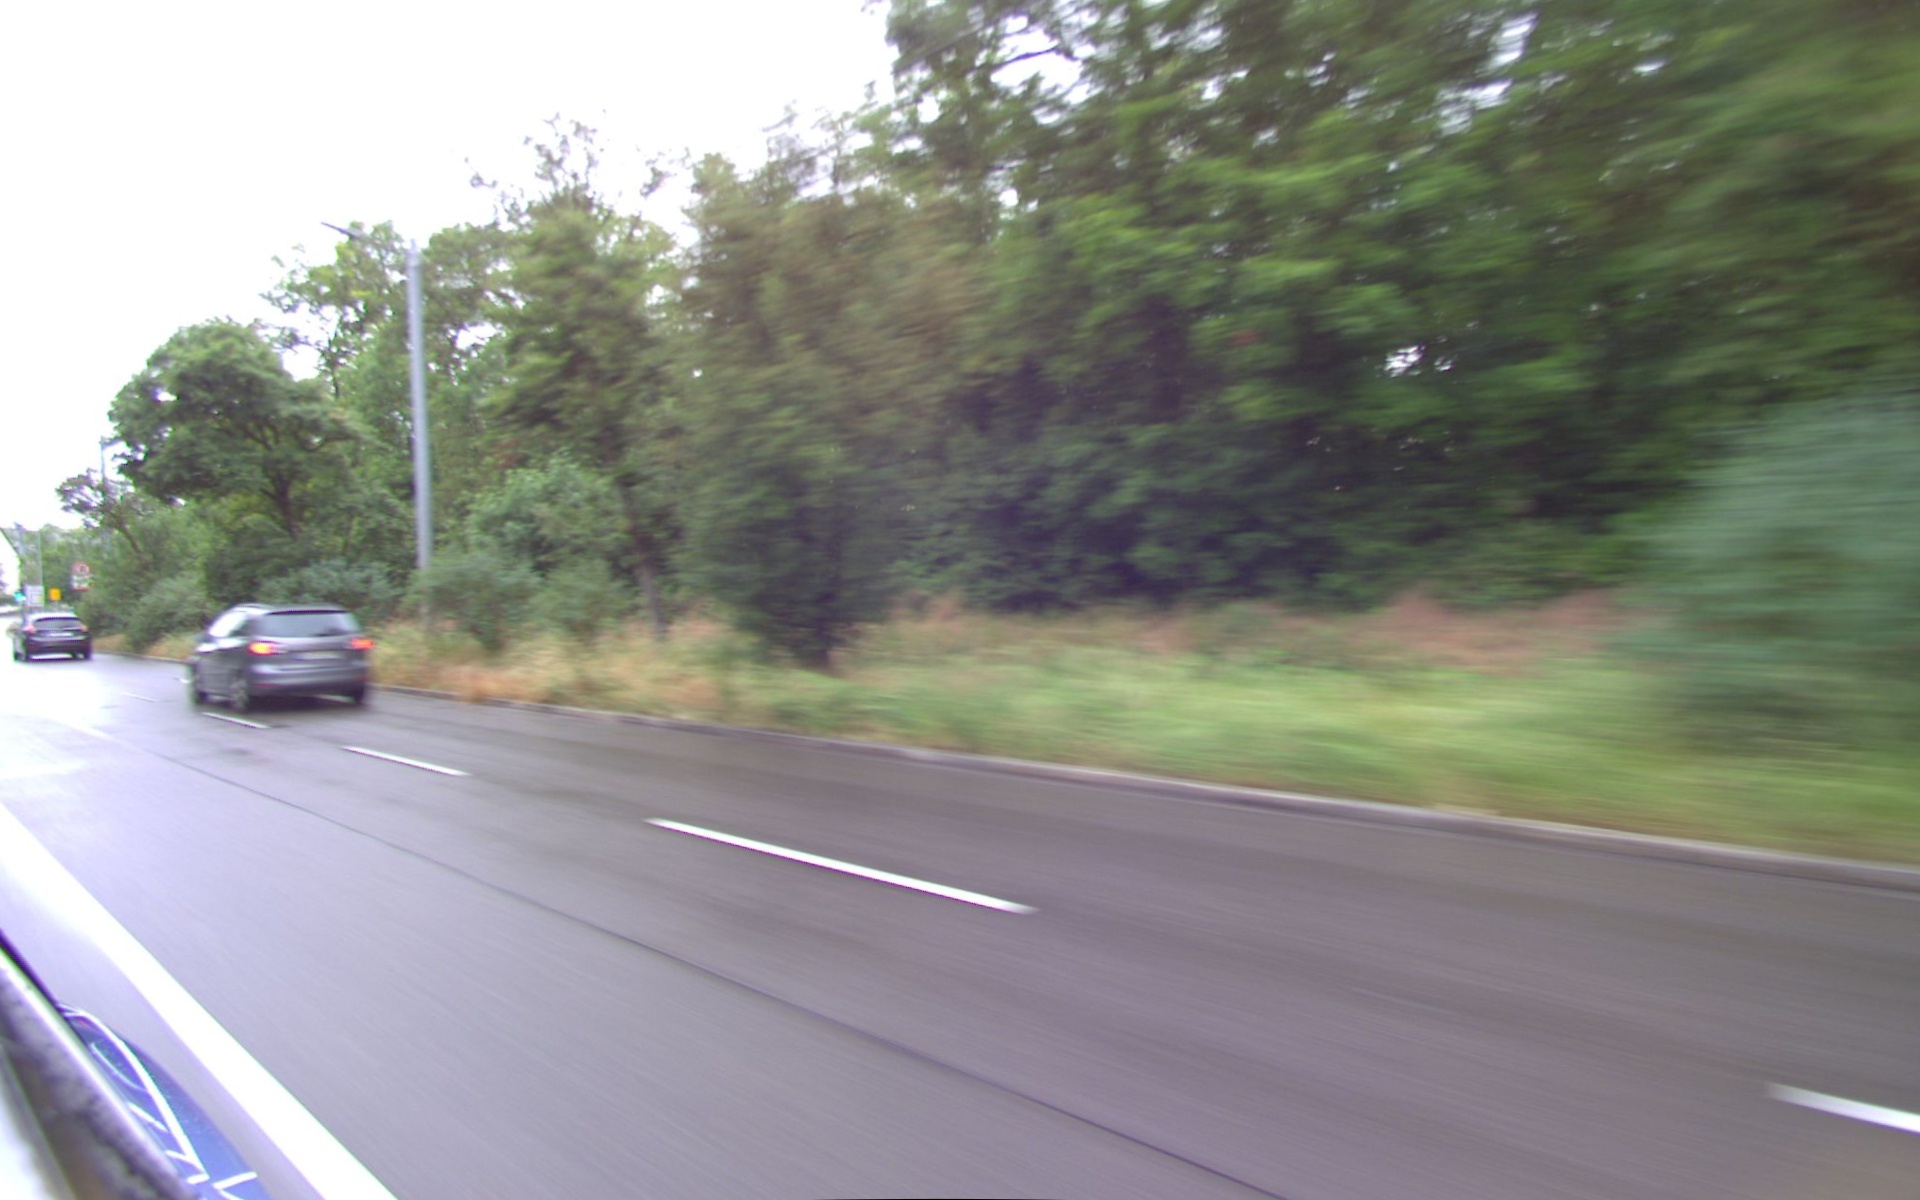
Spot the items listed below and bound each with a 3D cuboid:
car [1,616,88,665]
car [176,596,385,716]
[{"bbox_3d":[-29.288,1.256,32.338,3.988,1.452,1.582,-1,-1,41],"label":"car"},{"bbox_3d":[-10.833,0.802,16.026,4.082,1.622,1.753,-1,1,41],"label":"car"}]
